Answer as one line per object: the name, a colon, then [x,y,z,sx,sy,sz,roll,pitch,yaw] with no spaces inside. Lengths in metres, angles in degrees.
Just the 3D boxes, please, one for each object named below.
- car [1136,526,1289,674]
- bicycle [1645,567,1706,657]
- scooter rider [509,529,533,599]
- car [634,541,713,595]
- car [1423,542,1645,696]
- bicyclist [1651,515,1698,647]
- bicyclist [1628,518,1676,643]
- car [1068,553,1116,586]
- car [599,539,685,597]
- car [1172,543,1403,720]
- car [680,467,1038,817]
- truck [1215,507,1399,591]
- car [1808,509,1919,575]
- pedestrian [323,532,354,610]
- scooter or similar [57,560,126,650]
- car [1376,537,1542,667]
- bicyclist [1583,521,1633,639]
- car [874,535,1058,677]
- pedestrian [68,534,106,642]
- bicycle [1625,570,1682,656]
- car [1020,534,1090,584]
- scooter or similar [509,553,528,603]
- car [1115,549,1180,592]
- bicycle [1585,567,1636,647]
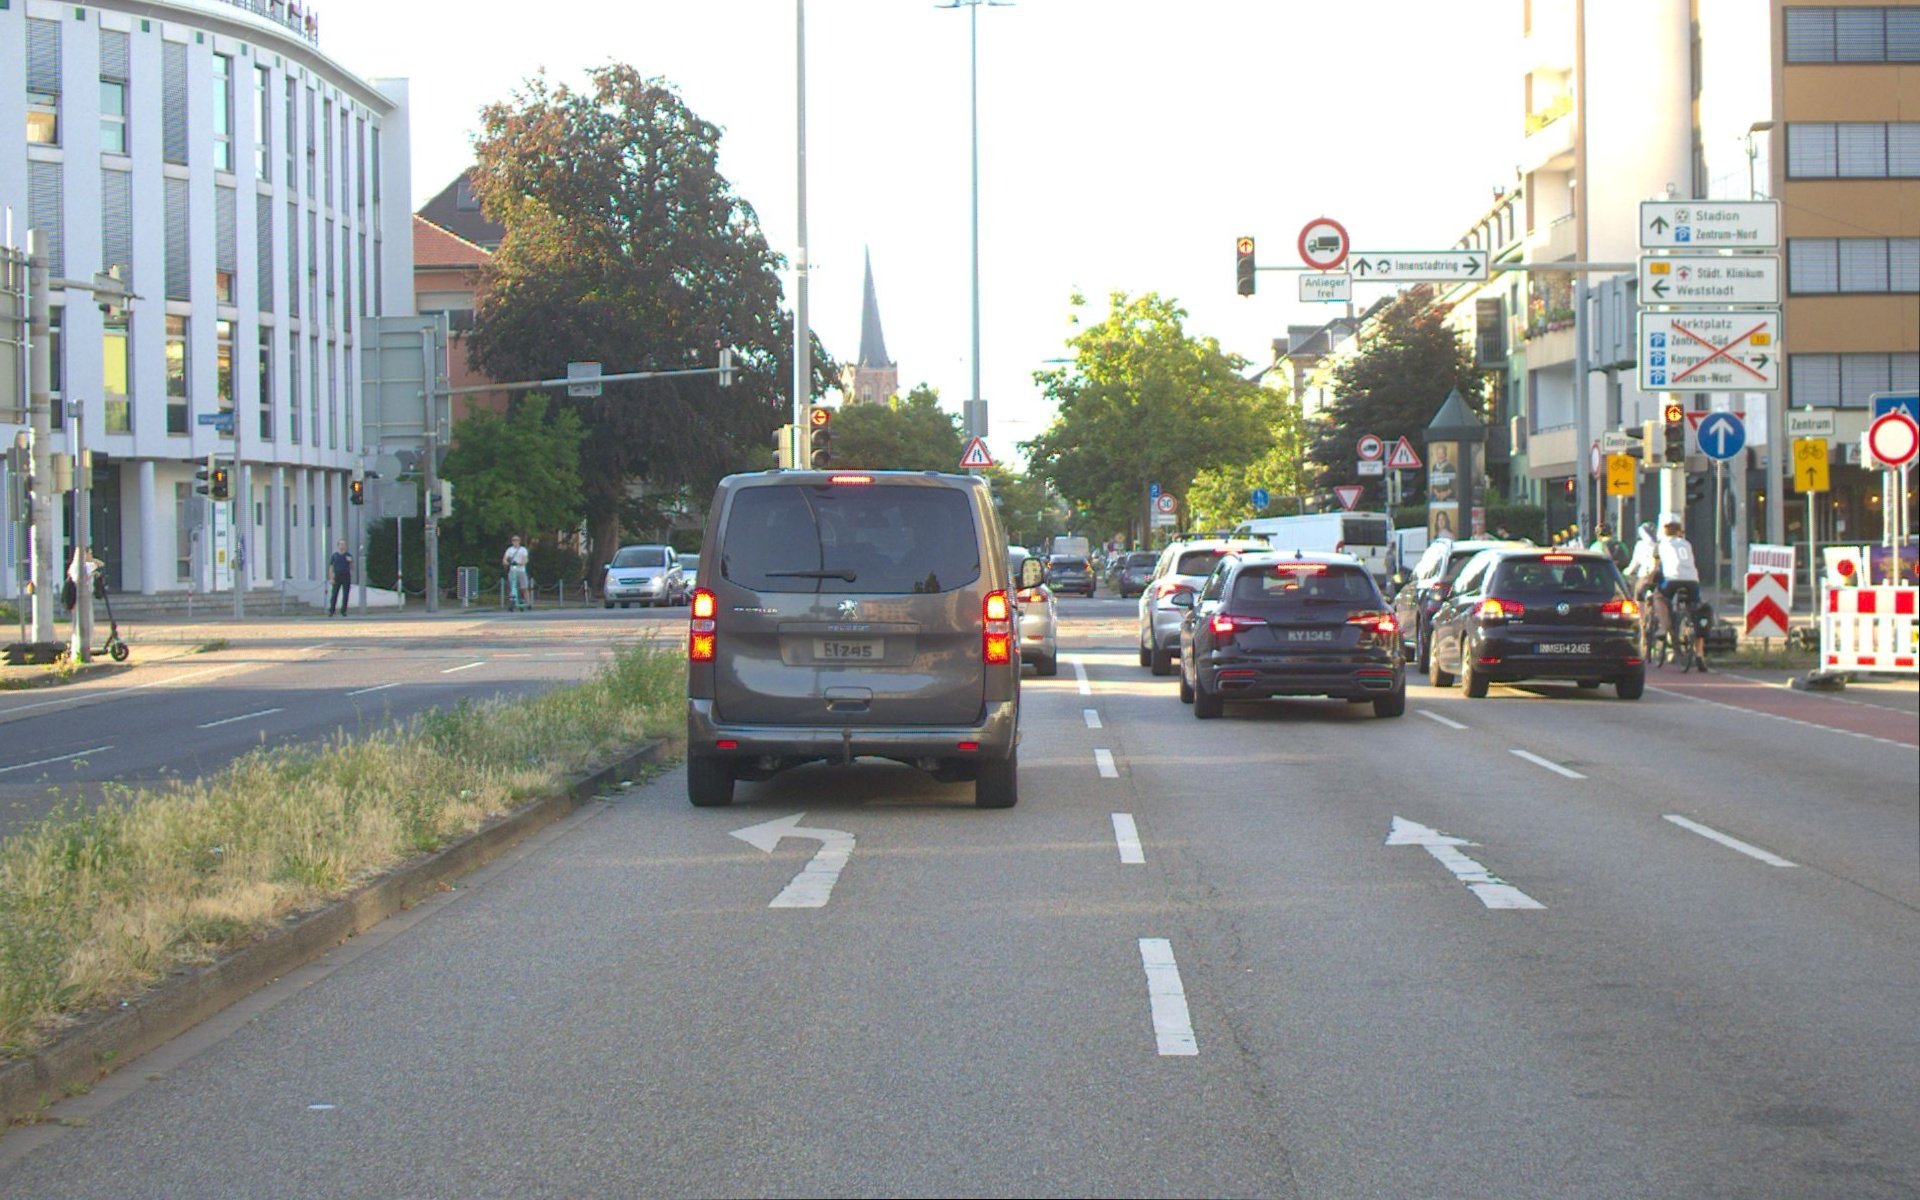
car: [2.885,-0.036,39.898,1.529,1.608,3.745,1,1,1]
bicycle: [8.316,0.128,40.000,0.336,1.004,1.856,-1,1,1]
scooter rider: [-10.709,-0.884,83.819,0.481,1.691,0.636,-1,1,1]
car: [-7.787,-0.881,93.693,1.856,1.415,4.000,-1,1,-1]
car: [5.733,0.150,34.672,1.634,1.444,3.745,1,1,1]
bicyclist: [8.308,-0.223,39.995,0.441,1.520,0.482,-1,1,1]
bicyclist: [8.494,-0.241,42.211,0.441,1.520,0.725,-1,1,1]
car: [5.815,-1.351,151.949,1.904,1.368,4.000,-1,1,-1]
car: [-8.085,-0.823,87.735,1.856,1.415,4.000,-1,1,-1]
car: [2.828,0.226,30.461,1.681,1.416,4.214,1,1,1]
car: [-0.518,0.182,20.794,1.907,1.857,4.526,1,1,1]
truck: [8.957,-1.319,88.974,2.128,2.079,4.630,-2,1,-37]
car: [20.828,-1.285,75.314,3.986,1.415,1.788,-1,1,-5]
pedestrian: [-13.863,-0.650,76.690,0.625,1.716,0.671,-1,1,-13]
scooter or similar: [-12.103,0.065,47.910,0.893,1.229,0.371,-1,1,-10]
car: [5.810,-0.005,40.306,1.505,1.444,3.305,-1,1,1]
bicyclist: [8.505,-0.267,45.147,0.513,1.520,0.725,-1,1,1]
car: [0.094,0.026,39.436,1.993,1.525,4.000,-1,1,1]
pedestrian: [-12.195,-0.165,48.018,0.474,1.500,0.335,-1,1,-11]
bicycle: [8.490,0.144,42.135,0.336,1.004,1.856,-1,1,1]
car: [3.277,-1.424,118.885,1.993,1.656,4.001,-1,1,-4]
scooter or similar: [-10.743,-0.537,83.751,0.285,1.184,1.169,-1,1,1]
car: [6.286,-1.016,115.791,1.904,1.368,4.000,-1,1,-1]
bicycle: [8.528,0.085,45.105,0.336,1.004,1.856,-1,1,1]
